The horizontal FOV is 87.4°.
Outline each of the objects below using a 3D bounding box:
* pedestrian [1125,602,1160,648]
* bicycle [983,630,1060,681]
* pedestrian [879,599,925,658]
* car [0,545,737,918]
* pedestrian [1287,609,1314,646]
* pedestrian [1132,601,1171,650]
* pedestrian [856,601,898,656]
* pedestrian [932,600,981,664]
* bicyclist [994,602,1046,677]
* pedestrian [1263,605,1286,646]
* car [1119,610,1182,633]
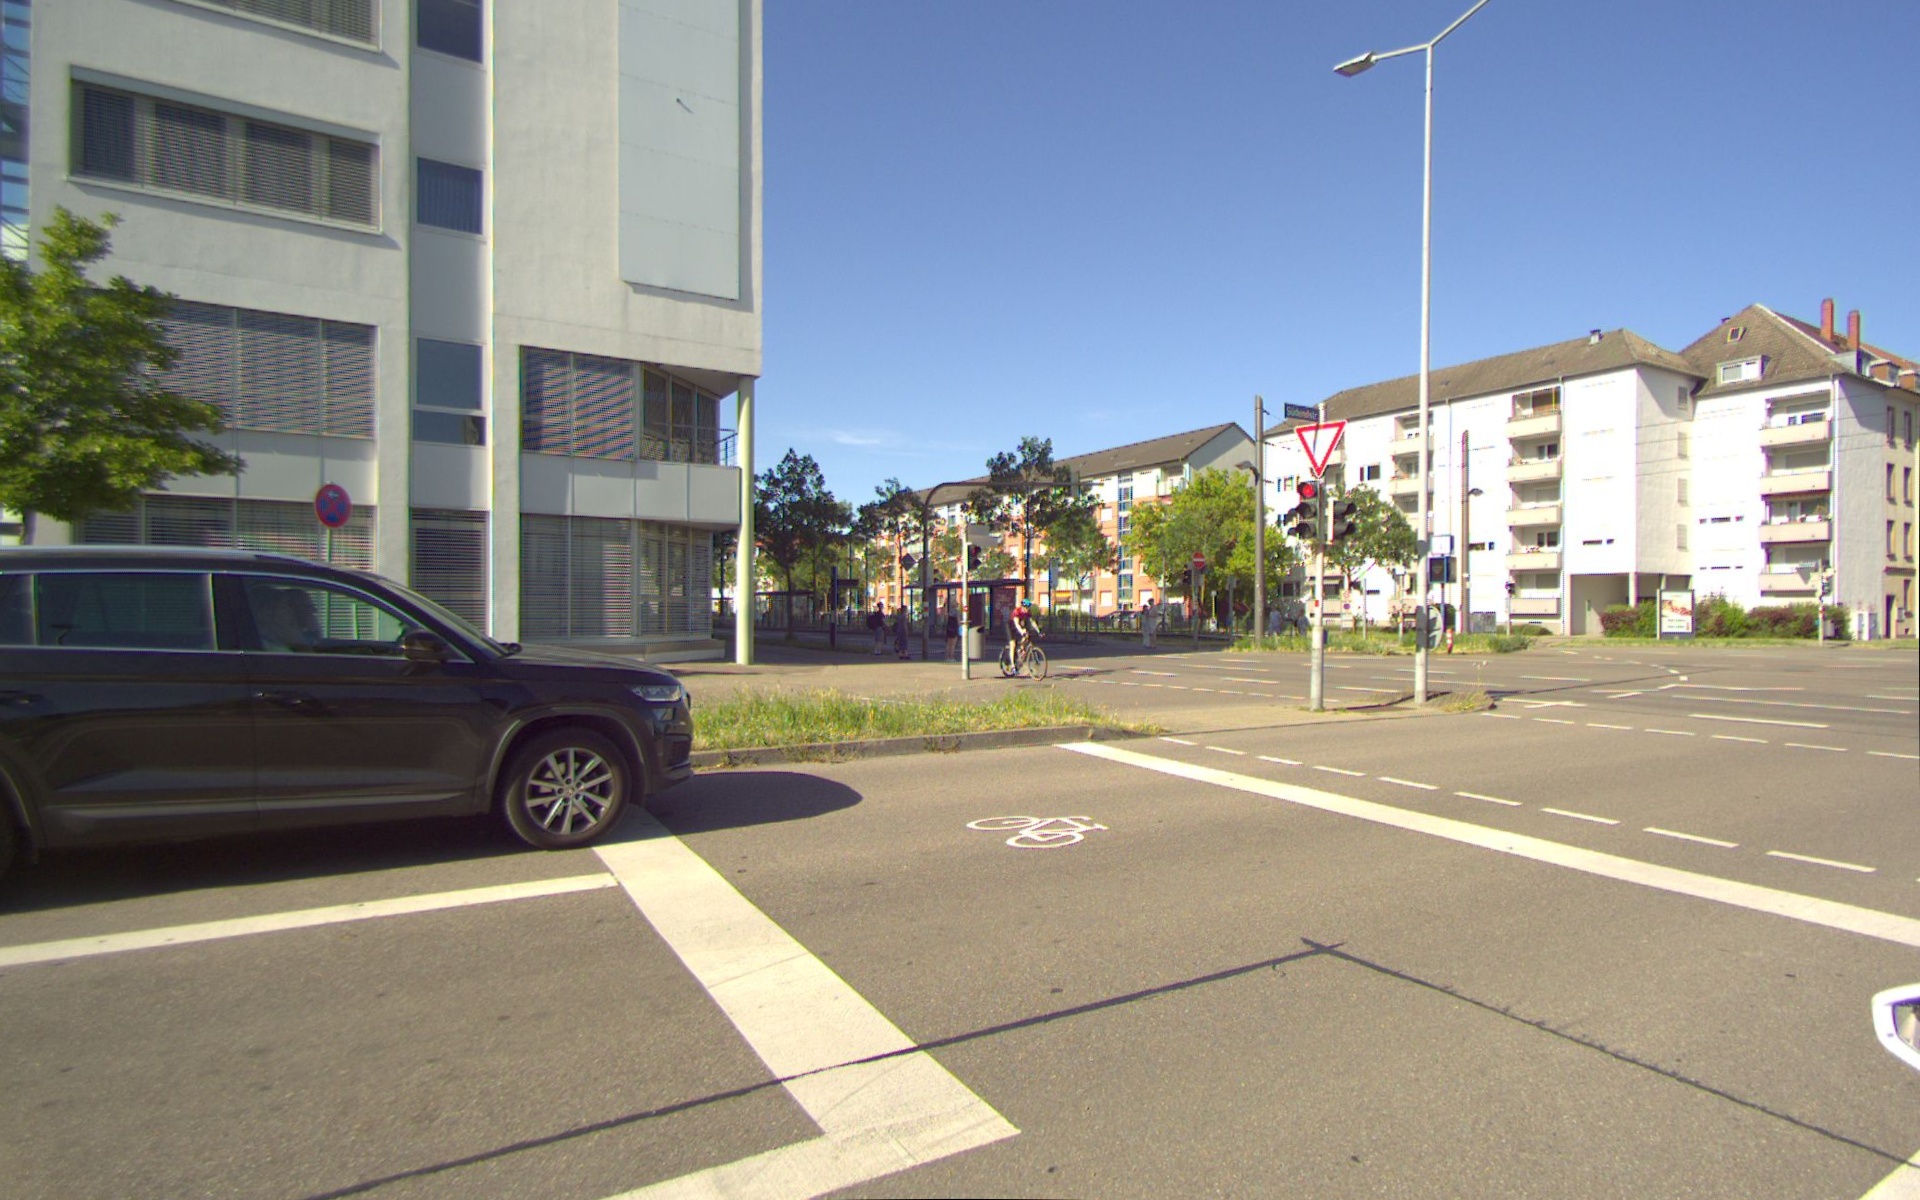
[{"bbox_3d":[7.175,0.981,39.438,1.143,1.749,0.805,1,-1,-36],"label":"pedestrian"},{"bbox_3d":[1.337,1.209,22.189,0.668,1.069,1.791,1,-1,-39],"label":"bicycle"},{"bbox_3d":[-1.765,0.869,30.483,1.143,1.749,0.805,1,-1,-36],"label":"pedestrian"},{"bbox_3d":[-3.719,0.571,5.778,4.428,1.650,1.744,1,1,-32],"label":"car"},{"bbox_3d":[14.470,1.163,42.686,0.850,1.554,0.719,0,-1,-36],"label":"pedestrian"},{"bbox_3d":[7.215,0.955,37.778,1.143,1.794,0.914,1,-1,-36],"label":"pedestrian"},{"bbox_3d":[-2.714,0.914,32.812,1.143,1.749,0.805,1,-1,-36],"label":"pedestrian"},{"bbox_3d":[-0.102,0.898,28.485,1.143,1.749,0.805,1,-1,-36],"label":"pedestrian"},{"bbox_3d":[1.318,0.859,22.211,0.668,1.607,0.993,1,-1,-39],"label":"bicyclist"},{"bbox_3d":[13.526,1.096,43.203,0.797,1.749,1.155,0,-1,11],"label":"pedestrian"},{"bbox_3d":[13.623,1.552,72.087,4.310,1.451,1.694,2,1,7],"label":"car"}]
